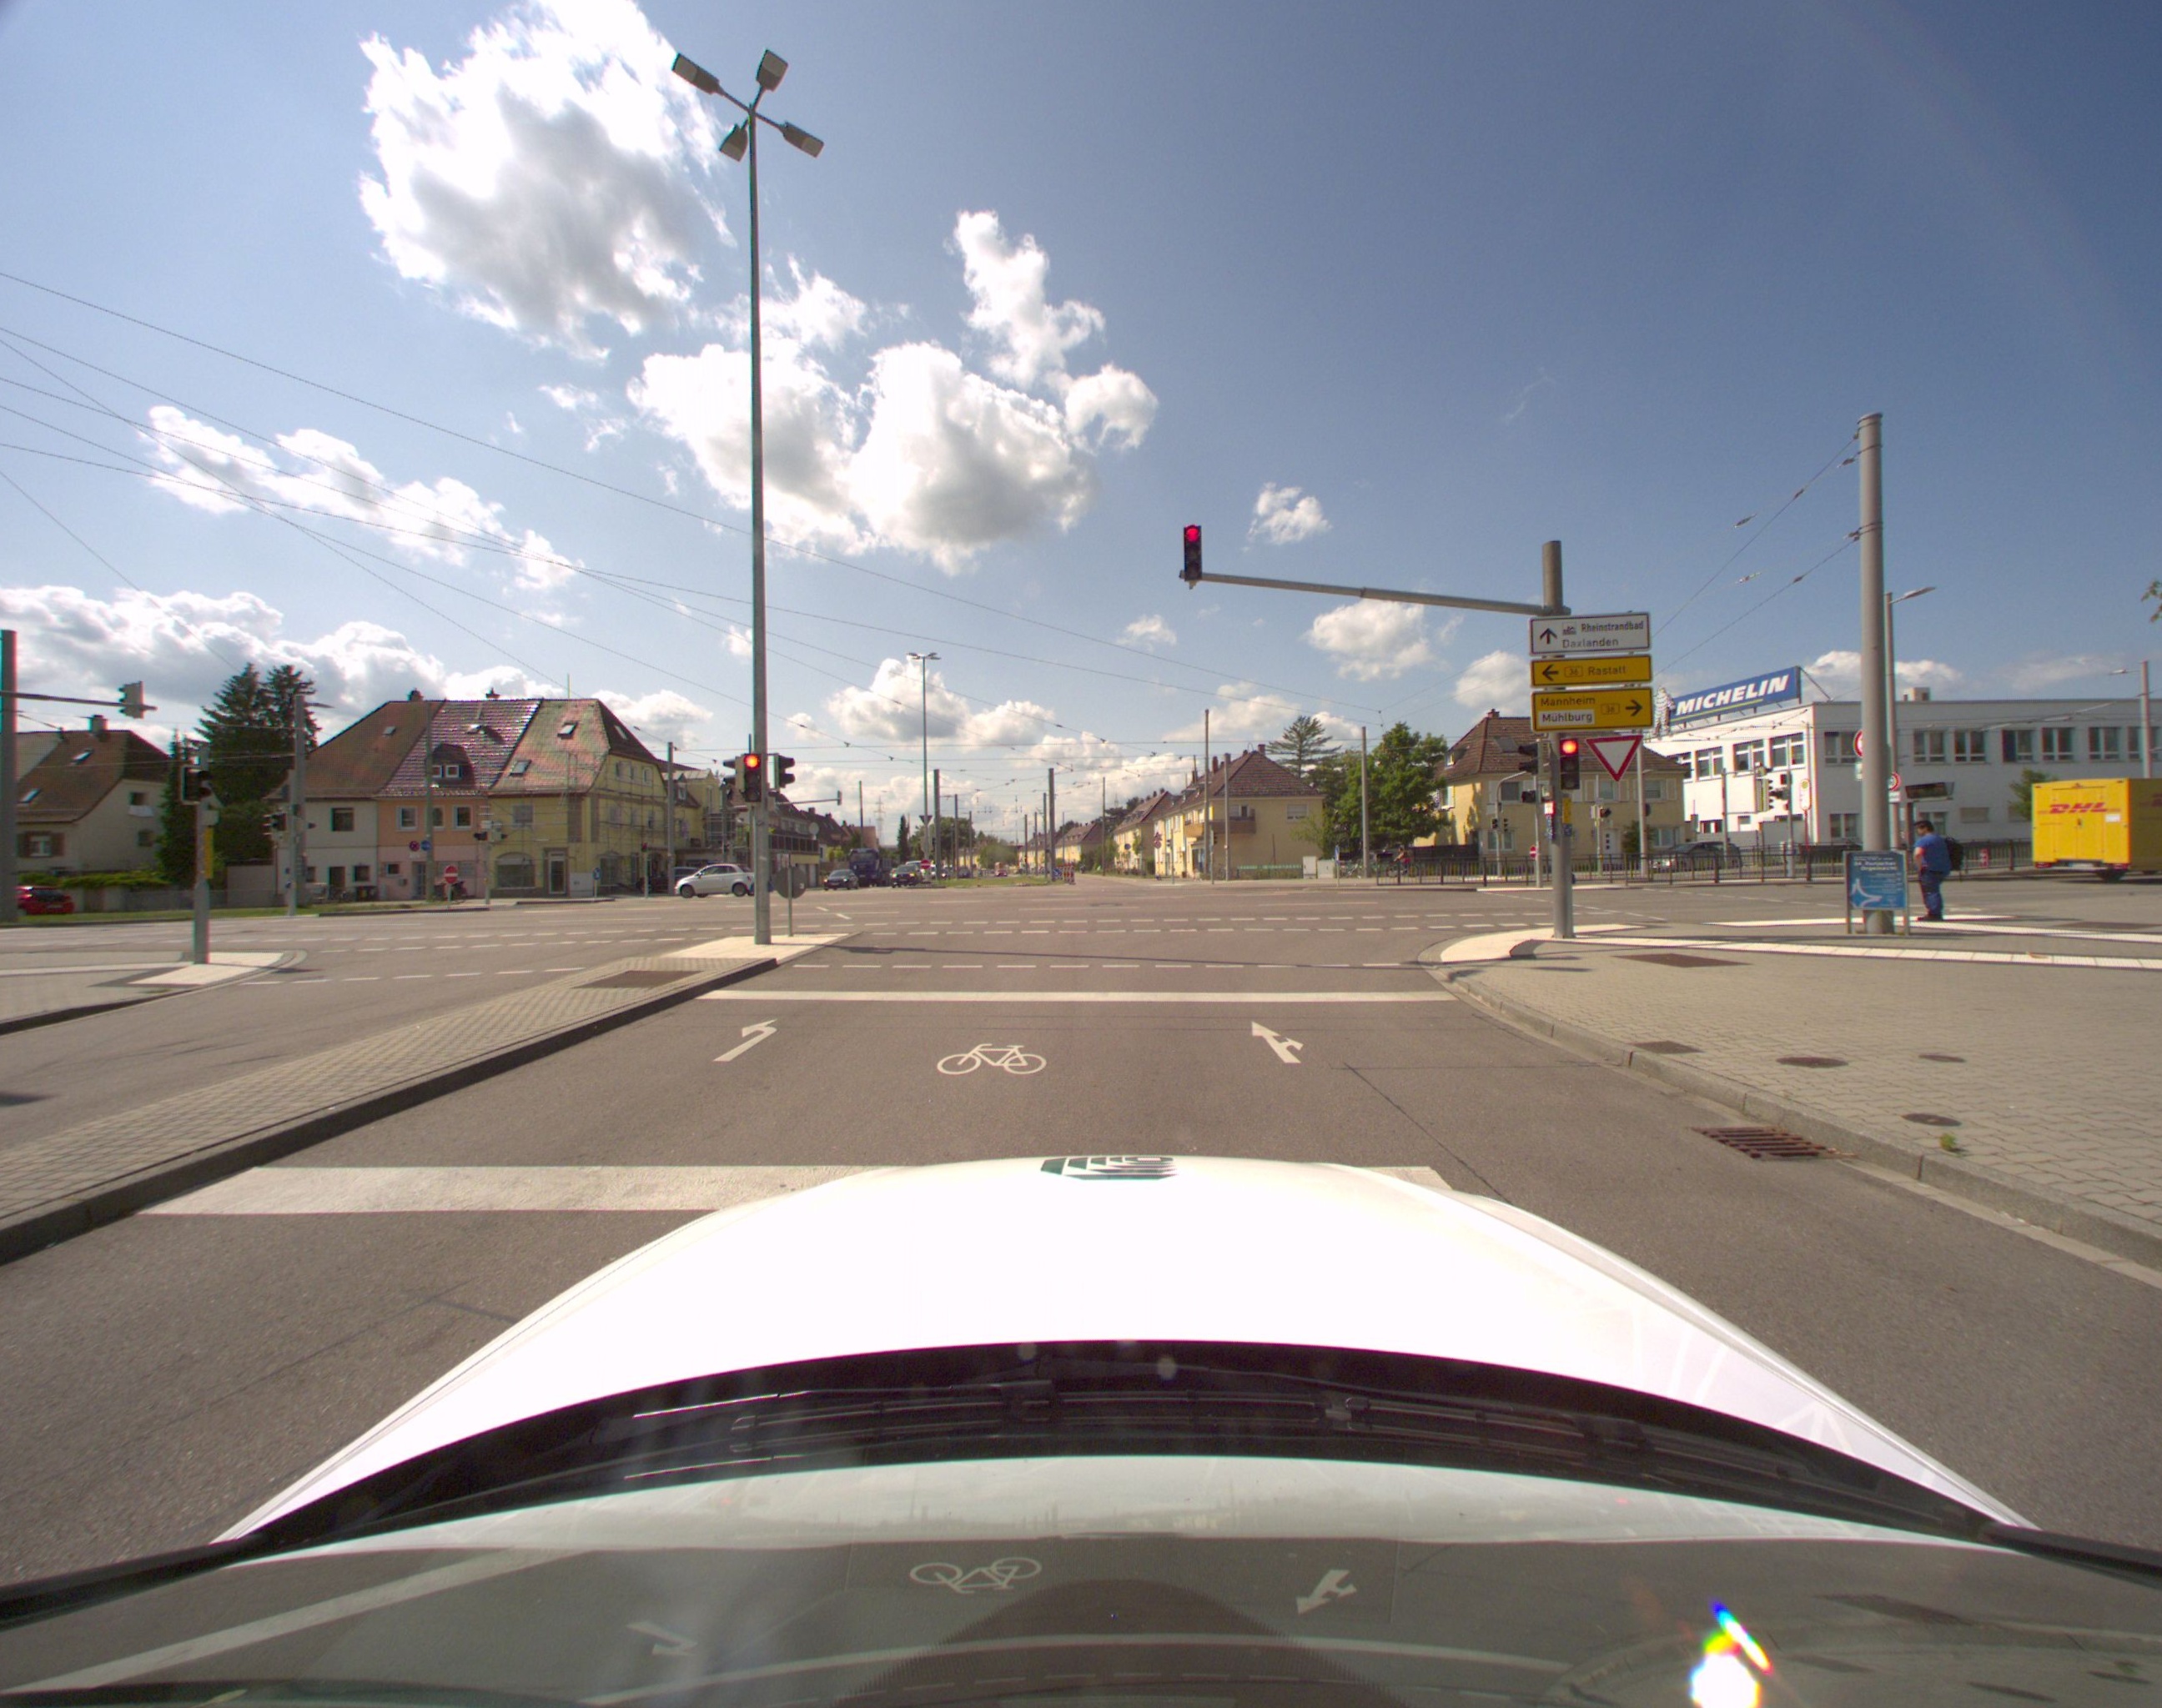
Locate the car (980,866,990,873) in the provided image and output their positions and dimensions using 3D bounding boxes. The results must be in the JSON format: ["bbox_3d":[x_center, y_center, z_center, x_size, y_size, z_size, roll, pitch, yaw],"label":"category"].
[{"bbox_3d":[-26.332,4.295,222.946,2.000,1.910,3.973,-1,0,-20],"label":"car"}]

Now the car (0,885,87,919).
[{"bbox_3d":[-46.002,2.083,35.061,3.975,1.354,1.923,-1,0,-1],"label":"car"}]

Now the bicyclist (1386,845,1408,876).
[{"bbox_3d":[18.228,0.387,46.944,0.948,1.775,0.724,-2,-2,37],"label":"bicyclist"}]

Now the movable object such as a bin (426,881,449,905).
[{"bbox_3d":[-35.374,2.141,44.770,0.680,1.260,0.681,0,-1,-2],"label":"movable object such as a bin"}]

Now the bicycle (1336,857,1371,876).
[{"bbox_3d":[16.113,0.758,48.139,1.785,1.105,0.707,-2,-1,41],"label":"bicycle"}]

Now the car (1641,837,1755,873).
[{"bbox_3d":[28.962,0.059,38.319,3.974,1.568,1.842,-2,-1,-1],"label":"car"}]

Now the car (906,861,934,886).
[{"bbox_3d":[-13.105,1.543,66.446,1.812,1.922,4.737,-1,-1,-6],"label":"car"}]

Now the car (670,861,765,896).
[{"bbox_3d":[-16.194,1.078,36.432,3.533,1.508,1.583,0,-1,-4],"label":"car"}]

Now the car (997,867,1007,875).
[{"bbox_3d":[-15.139,3.286,156.959,1.840,1.494,4.847,-2,-1,-5],"label":"car"}]

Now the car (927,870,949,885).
[{"bbox_3d":[-14.253,2.339,81.290,1.912,1.419,3.991,-2,-1,-6],"label":"car"}]

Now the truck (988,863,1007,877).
[{"bbox_3d":[-22.406,4.281,218.296,2.651,3.494,9.368,-1,-1,-21],"label":"truck"}]

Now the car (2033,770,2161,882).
[{"bbox_3d":[30.900,-0.819,22.688,6.553,2.928,2.063,-1,0,-3],"label":"car"}]

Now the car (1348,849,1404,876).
[{"bbox_3d":[19.765,0.585,54.714,1.821,1.621,3.989,-1,-2,-8],"label":"car"}]

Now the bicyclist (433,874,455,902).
[{"bbox_3d":[-33.011,1.774,42.210,0.722,1.398,0.575,-1,0,-11],"label":"bicyclist"}]

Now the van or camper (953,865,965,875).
[{"bbox_3d":[-37.461,4.883,250.728,2.698,2.702,6.481,-1,0,-17],"label":"van or camper"}]

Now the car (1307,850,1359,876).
[{"bbox_3d":[16.975,0.655,55.145,1.821,1.621,3.989,-1,-2,-8],"label":"car"}]

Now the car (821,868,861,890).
[{"bbox_3d":[-17.236,1.793,58.641,1.824,1.487,4.328,-1,-1,-3],"label":"car"}]

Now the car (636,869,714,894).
[{"bbox_3d":[-25.086,1.717,50.368,4.129,1.493,1.176,0,-1,-7],"label":"car"}]

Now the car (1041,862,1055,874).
[{"bbox_3d":[-6.391,2.773,157.633,2.064,2.149,4.865,-1,-1,-8],"label":"car"}]

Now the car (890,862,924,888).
[{"bbox_3d":[-12.779,1.505,60.017,1.783,1.720,4.434,-1,0,-5],"label":"car"}]

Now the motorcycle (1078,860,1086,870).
[{"bbox_3d":[0.136,1.836,132.228,1.065,1.635,2.079,-1,-1,-6],"label":"motorcycle"}]

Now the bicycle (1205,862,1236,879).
[{"bbox_3d":[9.491,1.140,55.449,0.598,1.096,2.251,0,-2,-37],"label":"bicycle"}]

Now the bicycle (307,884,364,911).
[{"bbox_3d":[-40.804,2.362,44.639,0.770,1.356,2.460,0,-1,3],"label":"bicycle"}]

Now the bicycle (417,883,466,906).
[{"bbox_3d":[-33.119,2.099,42.199,1.900,1.078,0.692,-1,0,-11],"label":"bicycle"}]

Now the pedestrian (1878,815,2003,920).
[{"bbox_3d":[14.858,0.223,14.108,1.027,1.735,1.040,-1,0,-2],"label":"pedestrian"}]

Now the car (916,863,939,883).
[{"bbox_3d":[-13.978,1.737,74.341,1.731,1.782,4.395,-2,-1,-6],"label":"car"}]

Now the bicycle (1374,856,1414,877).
[{"bbox_3d":[17.961,0.726,46.716,2.007,1.102,0.720,-2,-2,37],"label":"bicycle"}]

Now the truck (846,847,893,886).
[{"bbox_3d":[-18.162,1.099,70.282,2.765,3.188,7.565,-1,-1,-6],"label":"truck"}]
